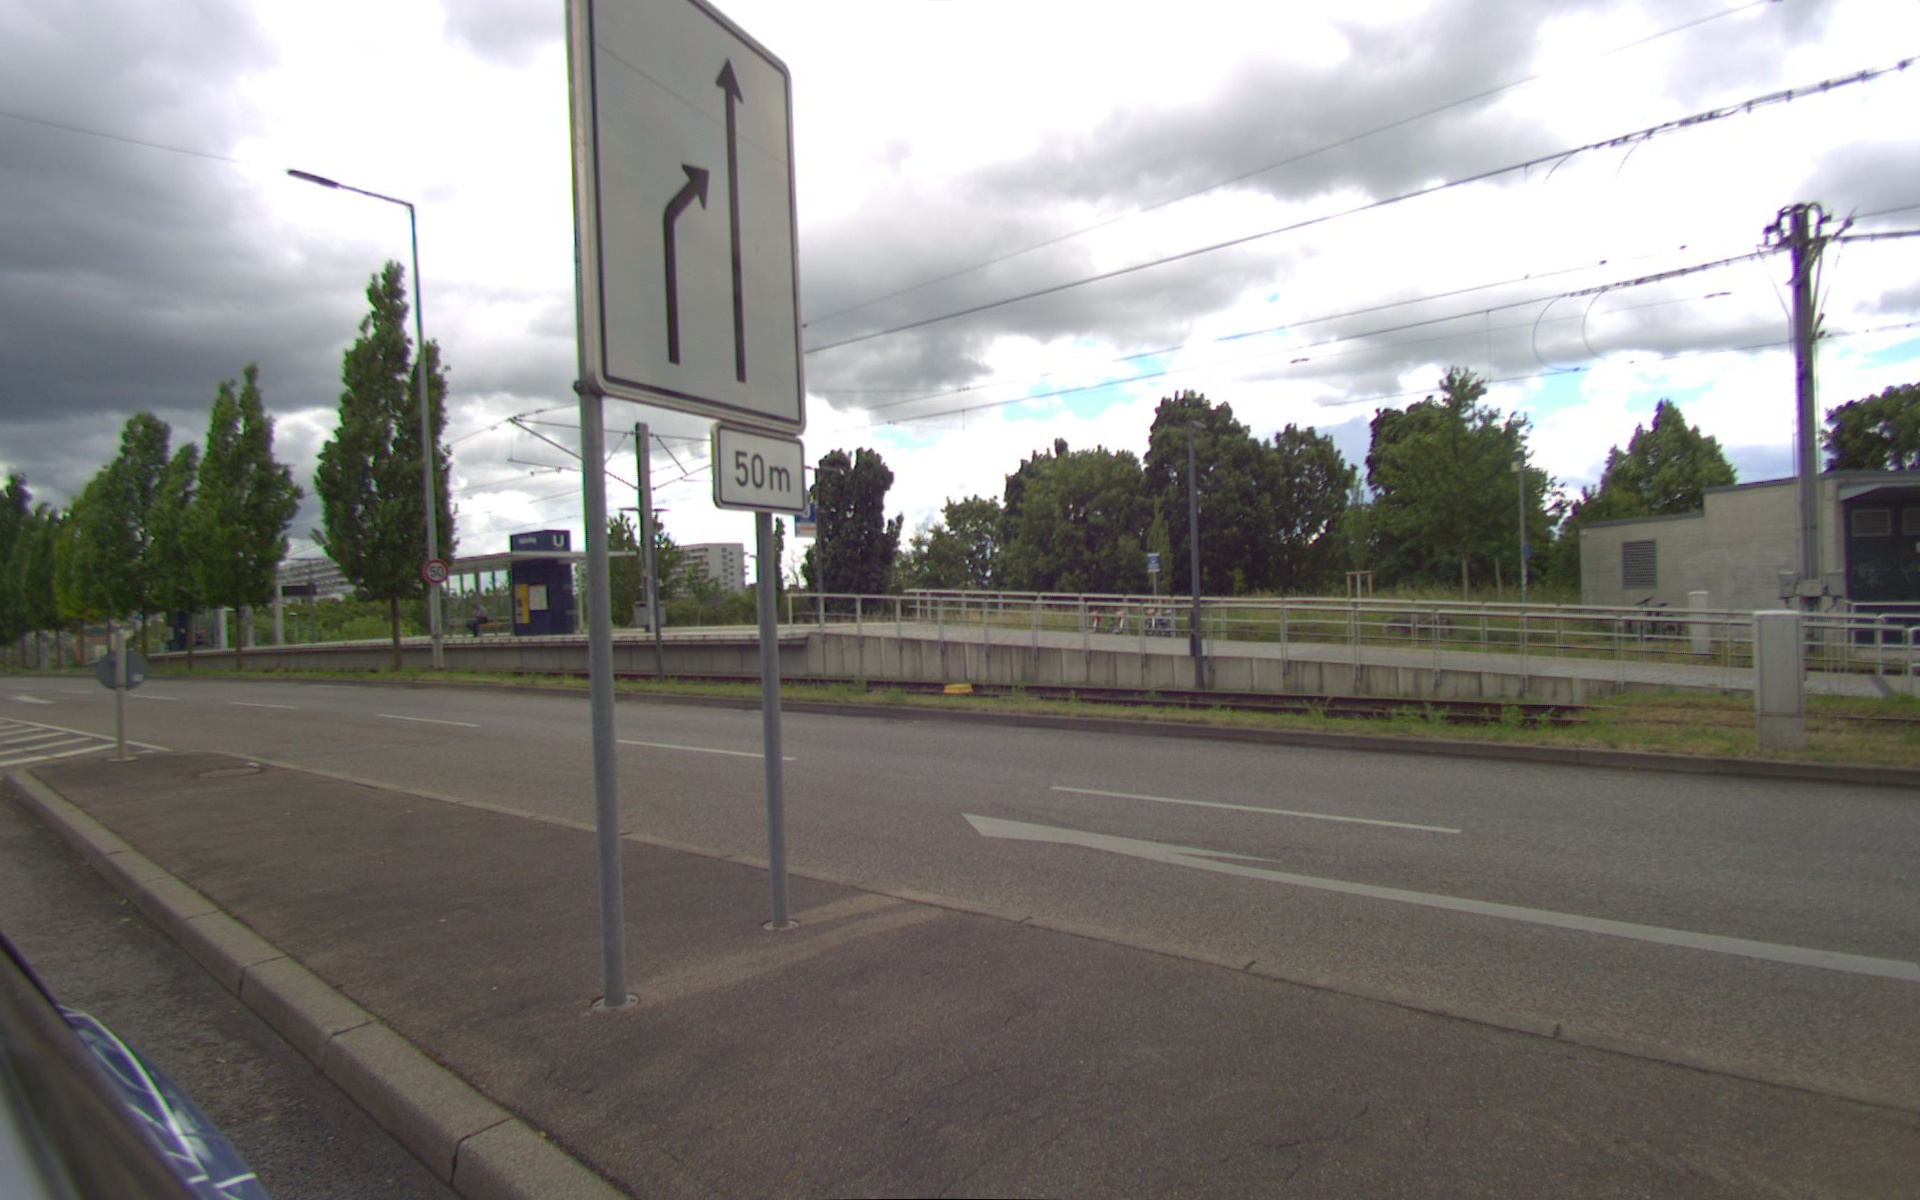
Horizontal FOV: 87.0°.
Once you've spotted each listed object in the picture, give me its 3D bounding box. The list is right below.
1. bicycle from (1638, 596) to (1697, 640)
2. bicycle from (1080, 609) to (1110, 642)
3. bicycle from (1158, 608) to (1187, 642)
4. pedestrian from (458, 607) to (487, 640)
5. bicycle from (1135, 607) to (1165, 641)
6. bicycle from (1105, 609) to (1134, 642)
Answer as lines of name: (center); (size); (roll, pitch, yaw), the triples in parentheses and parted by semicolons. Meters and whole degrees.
bicycle: (18.195, 0.457, 26.049); (0.486, 1.095, 1.480); (-1, -1, 3)
bicycle: (4.683, 0.887, 35.151); (0.490, 1.095, 1.466); (-2, -1, 30)
bicycle: (7.046, 0.814, 33.457); (0.490, 1.095, 1.466); (-2, -1, 30)
pedestrian: (-18.250, 0.876, 37.863); (0.781, 1.211, 0.656); (-2, -1, 33)
bicycle: (6.380, 0.799, 33.938); (0.490, 1.095, 1.466); (-2, -1, 30)
bicycle: (5.440, 0.866, 34.449); (0.490, 1.095, 1.466); (-2, -1, 30)
